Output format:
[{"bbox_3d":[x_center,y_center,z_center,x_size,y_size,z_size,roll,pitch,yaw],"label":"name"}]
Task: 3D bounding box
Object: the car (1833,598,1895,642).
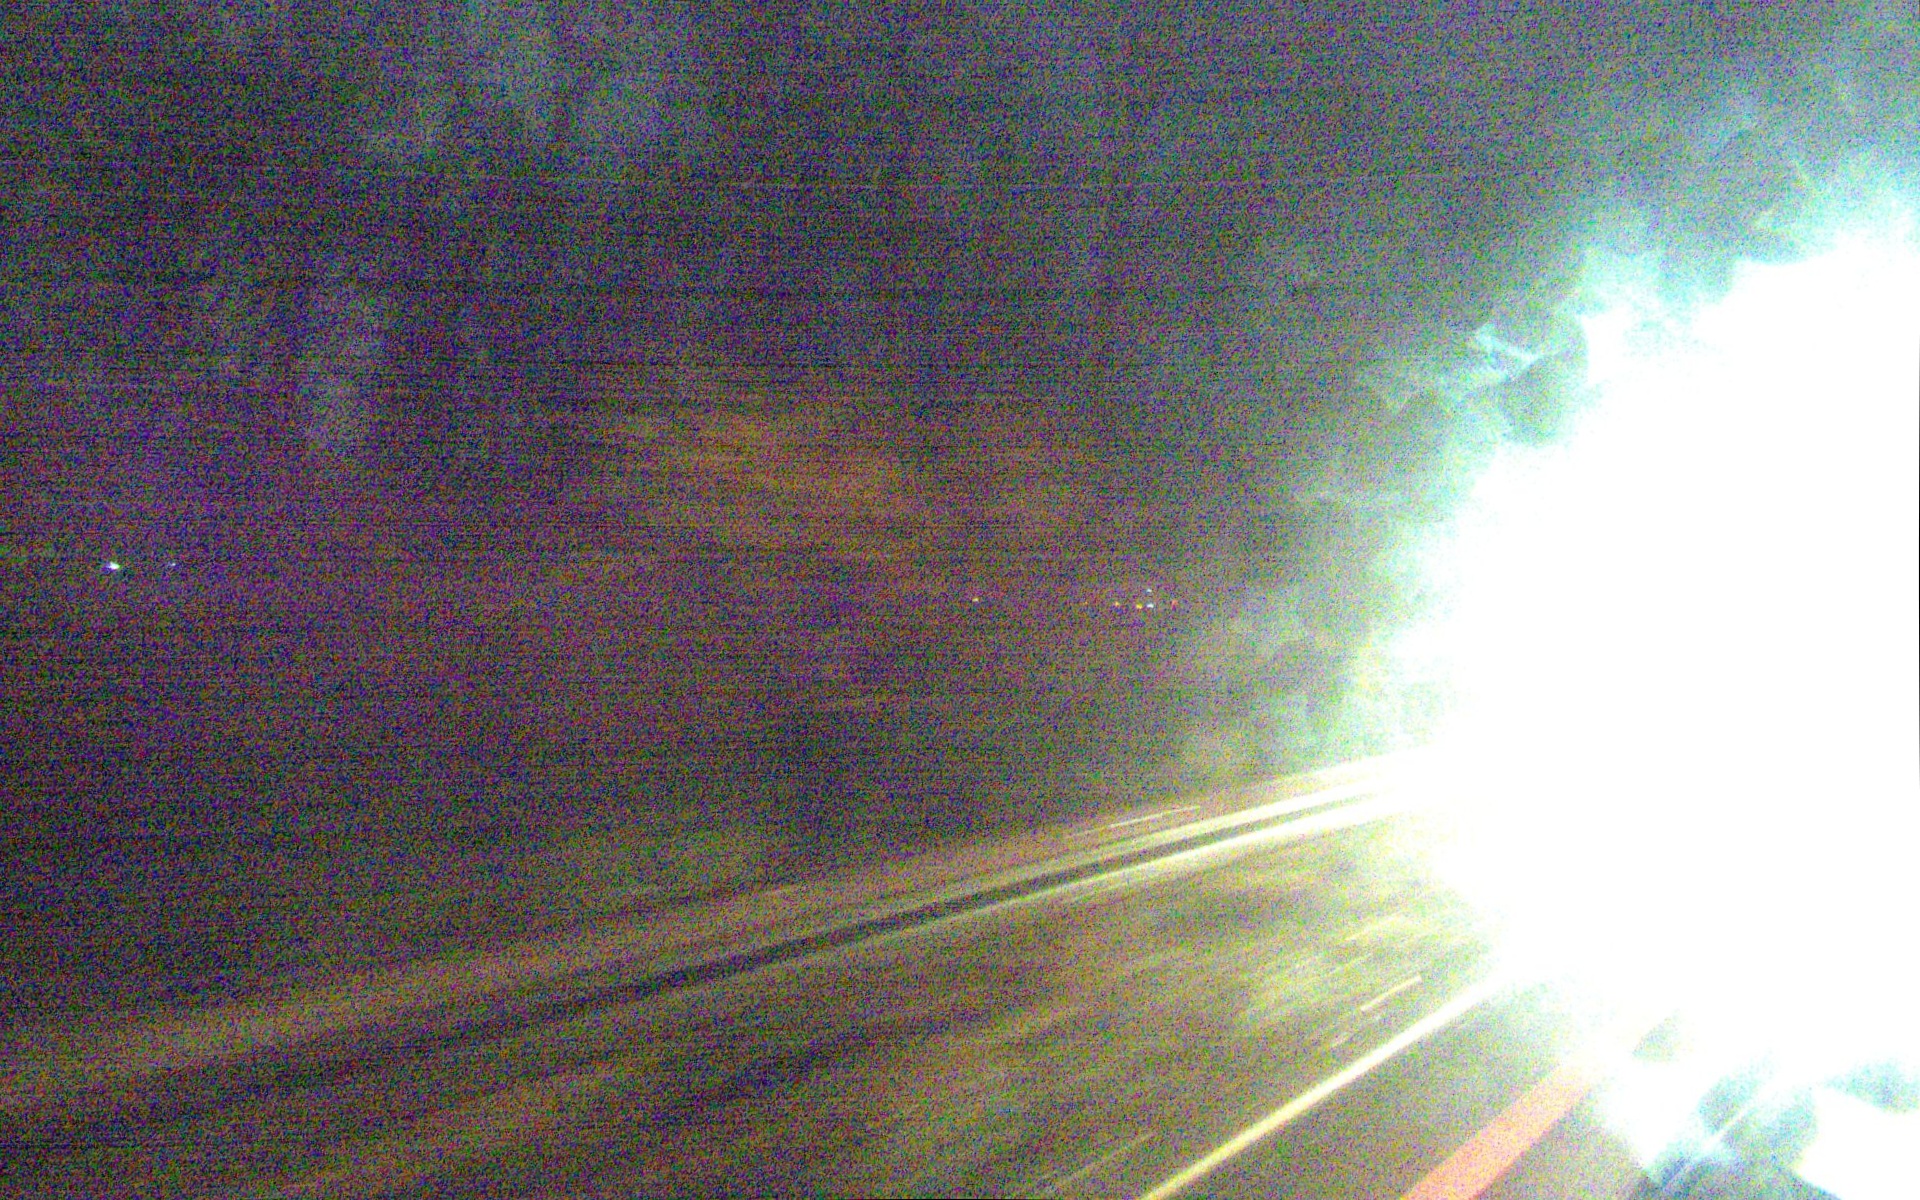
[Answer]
[{"bbox_3d":[39.272,0.854,44.040,1.776,1.727,3.944,-1,0,39],"label":"car"}]
